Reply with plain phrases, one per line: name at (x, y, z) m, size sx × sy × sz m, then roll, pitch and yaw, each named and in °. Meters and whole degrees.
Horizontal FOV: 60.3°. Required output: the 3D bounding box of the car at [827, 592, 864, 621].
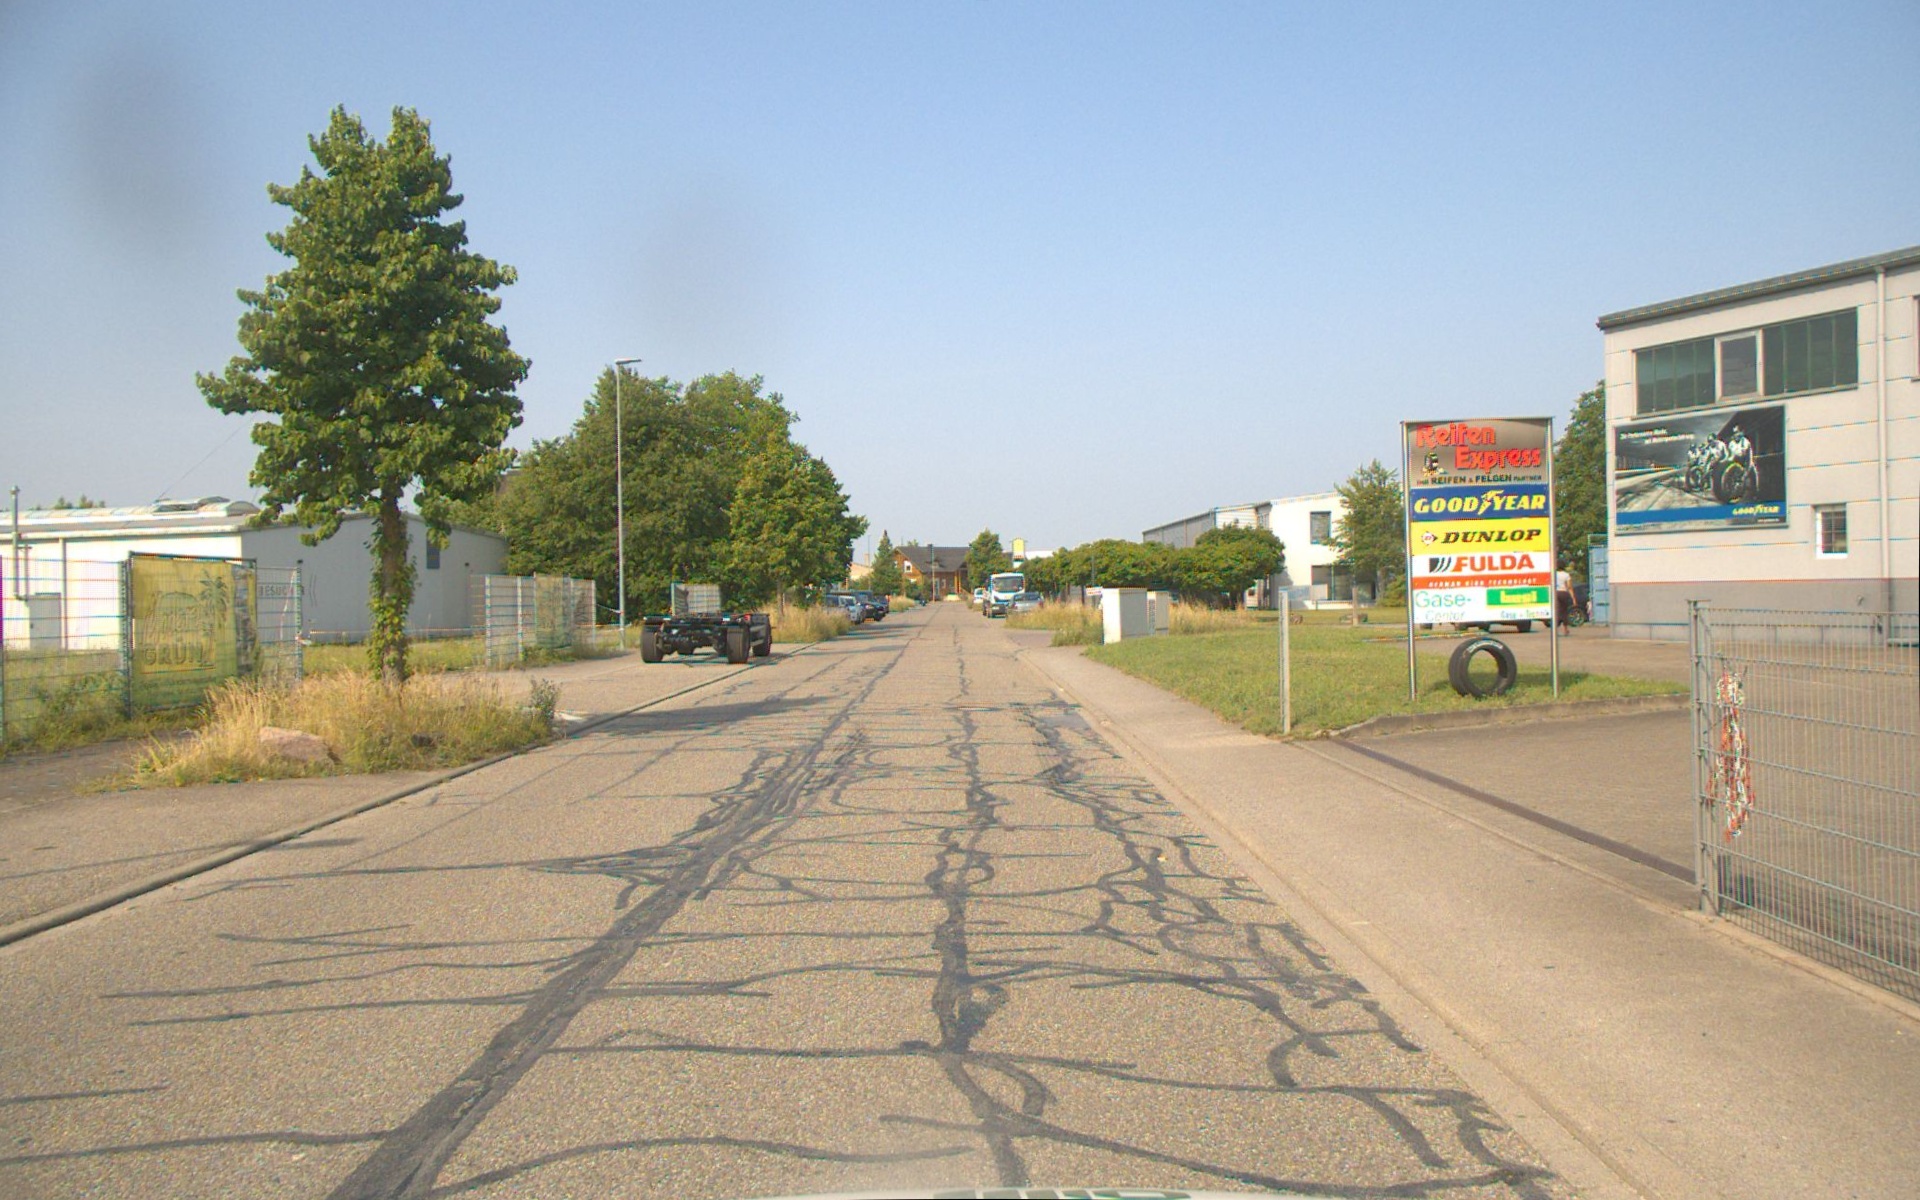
car at (-6.062, 0.335, 87.761) m, size 1.649 × 1.495 × 4.253 m, roll 0°, pitch 0°, yaw 0°

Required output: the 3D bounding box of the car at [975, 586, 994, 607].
car at (2.396, -0.340, 163.162) m, size 1.800 × 1.957 × 3.756 m, roll -2°, pitch 0°, yaw 0°

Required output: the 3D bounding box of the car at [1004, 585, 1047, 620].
car at (3.034, 0.097, 77.361) m, size 1.757 × 1.544 × 4.423 m, roll -2°, pitch 0°, yaw -1°

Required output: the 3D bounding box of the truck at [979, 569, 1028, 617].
truck at (2.623, -0.426, 101.141) m, size 2.312 × 2.728 × 6.506 m, roll -2°, pitch 0°, yaw -4°

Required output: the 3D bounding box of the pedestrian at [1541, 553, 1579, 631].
pedestrian at (13.002, -0.168, 35.842) m, size 0.688 × 1.668 × 0.748 m, roll -1°, pitch 0°, yaw 25°

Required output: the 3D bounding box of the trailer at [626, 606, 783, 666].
trailer at (-6.079, 0.813, 40.795) m, size 2.530 × 1.205 × 9.362 m, roll 0°, pitch 0°, yaw -1°

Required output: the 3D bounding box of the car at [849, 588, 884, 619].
car at (-5.750, 0.212, 101.990) m, size 1.818 × 1.744 × 4.226 m, roll -3°, pitch 0°, yaw 0°

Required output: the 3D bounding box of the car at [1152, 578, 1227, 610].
car at (12.463, -0.335, 89.558) m, size 1.659 × 1.616 × 4.501 m, roll -2°, pitch 0°, yaw 45°

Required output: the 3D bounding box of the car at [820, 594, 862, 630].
car at (-5.619, 0.552, 78.603) m, size 1.534 × 1.565 × 3.689 m, roll -2°, pitch 0°, yaw 2°

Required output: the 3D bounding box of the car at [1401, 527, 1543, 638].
car at (13.770, -0.467, 44.874) m, size 1.934 × 2.753 × 5.880 m, roll -1°, pitch 0°, yaw -1°
